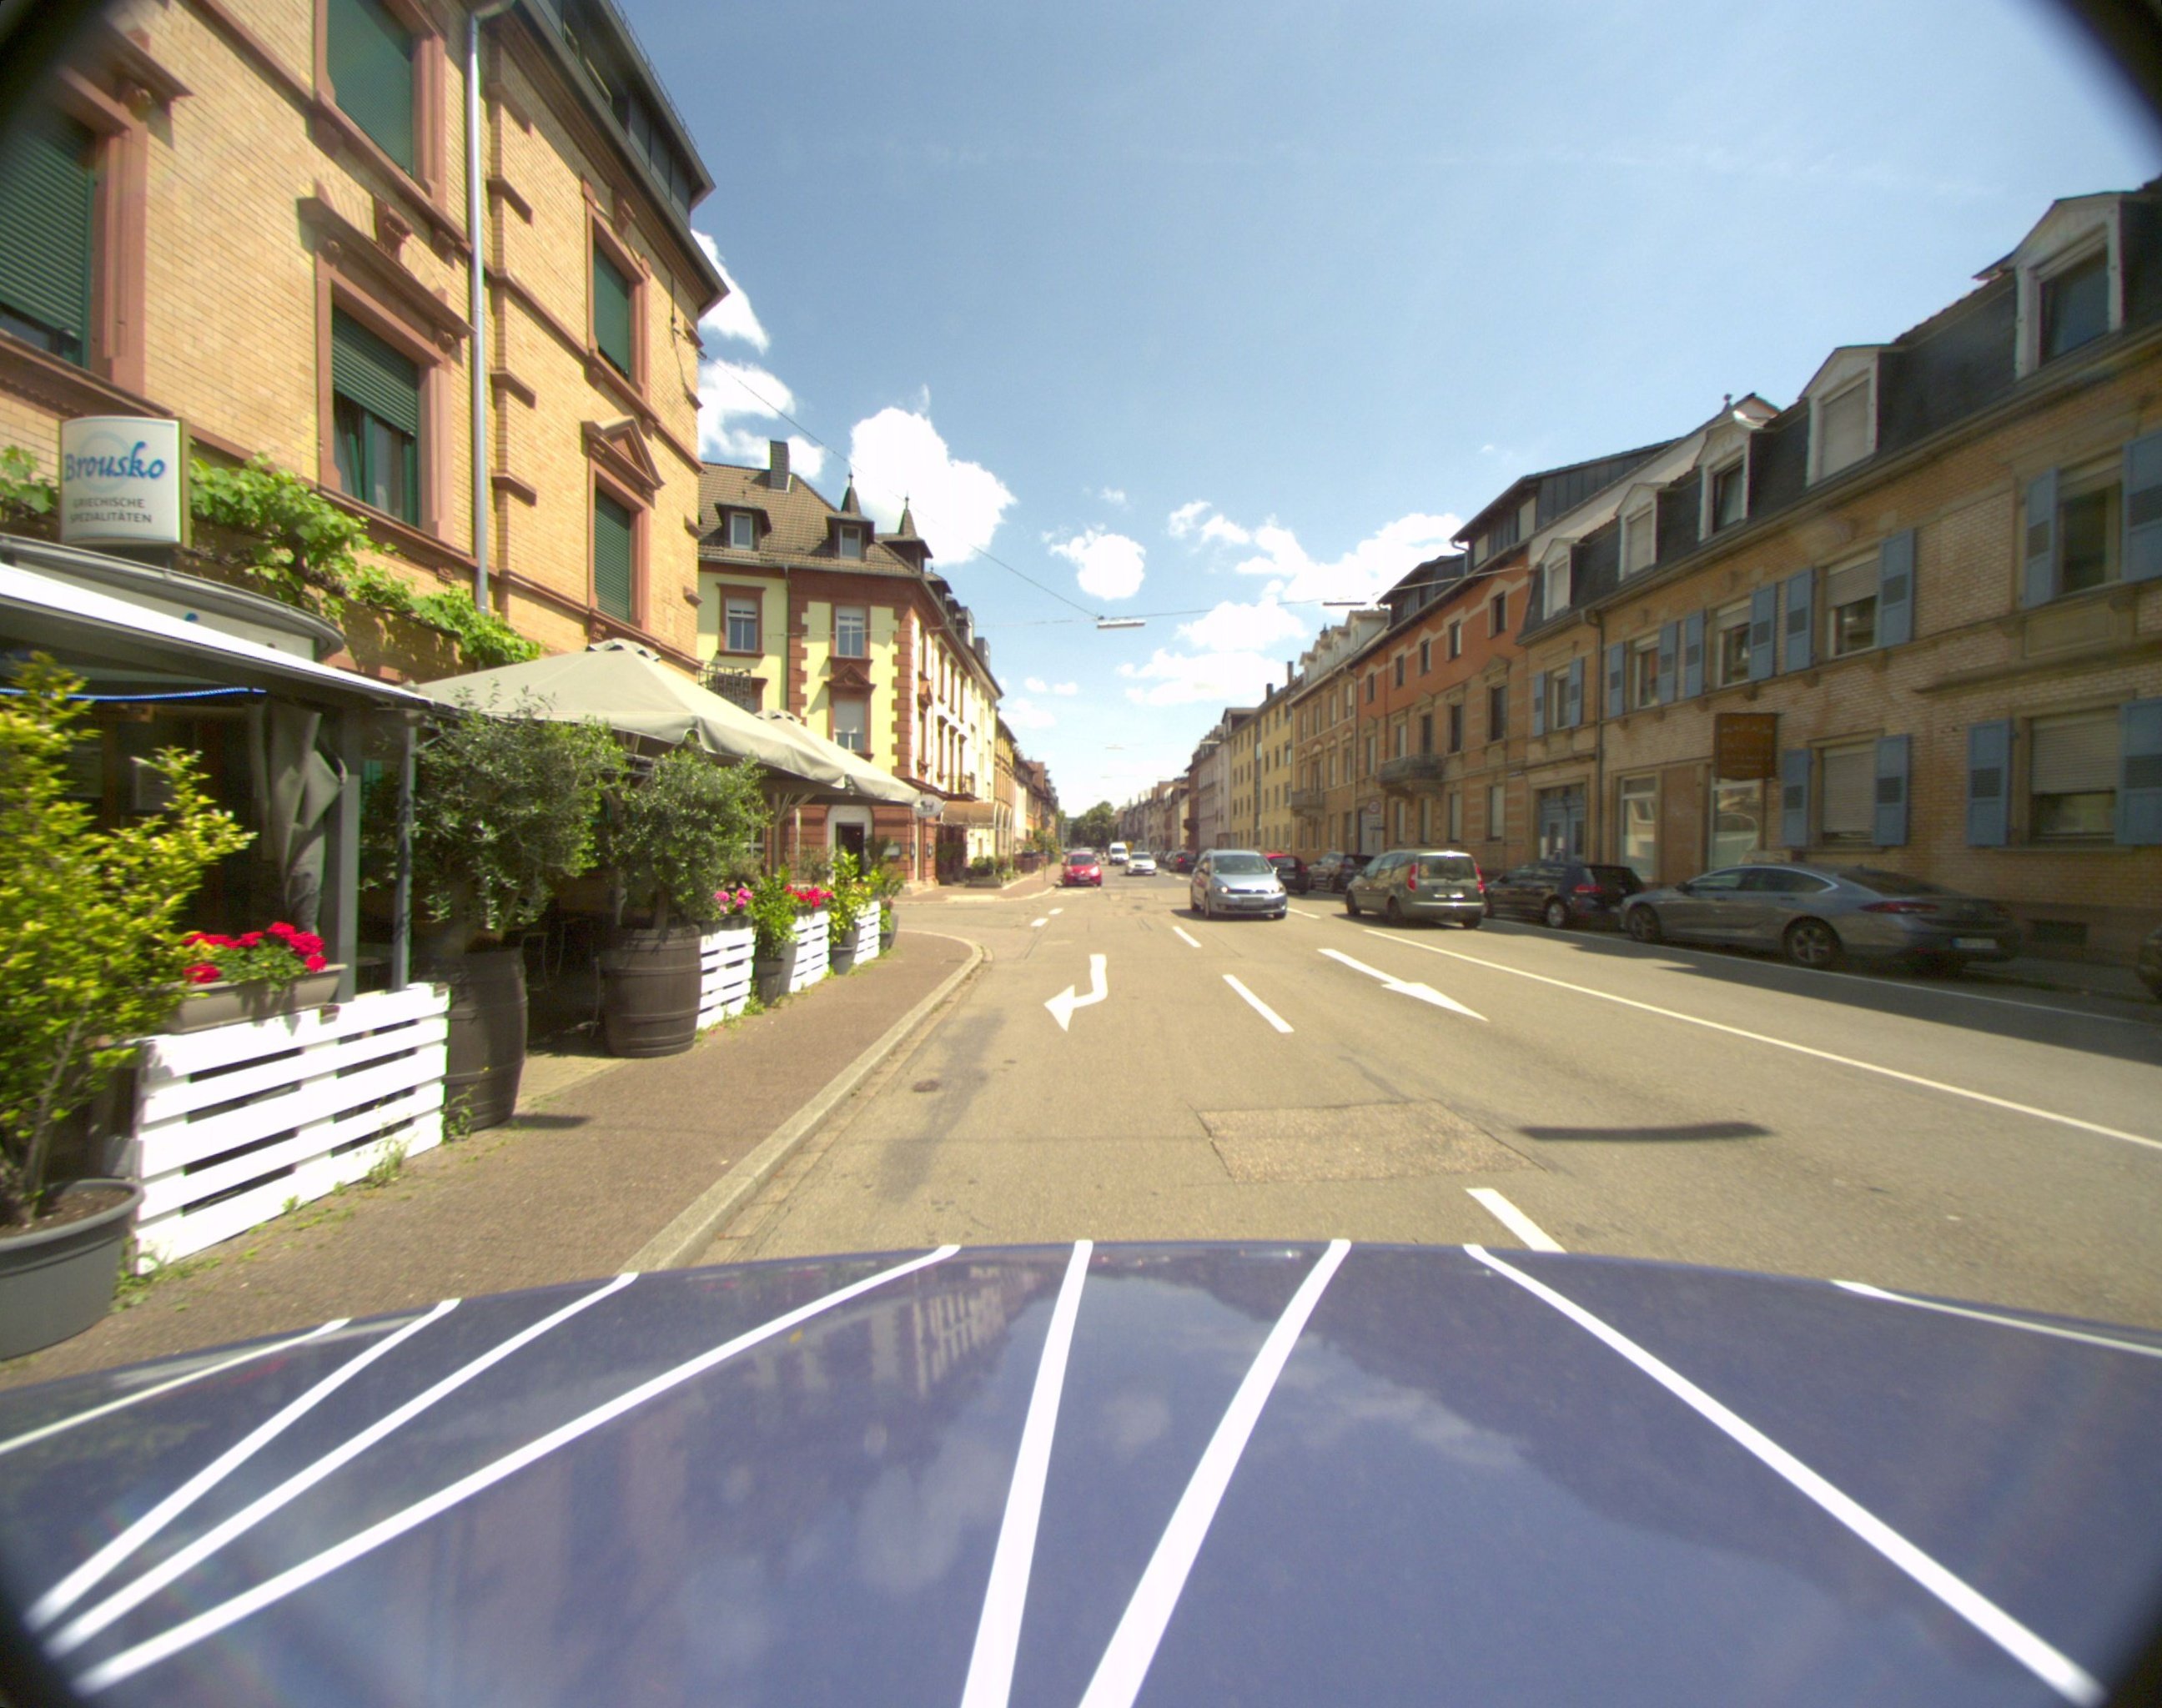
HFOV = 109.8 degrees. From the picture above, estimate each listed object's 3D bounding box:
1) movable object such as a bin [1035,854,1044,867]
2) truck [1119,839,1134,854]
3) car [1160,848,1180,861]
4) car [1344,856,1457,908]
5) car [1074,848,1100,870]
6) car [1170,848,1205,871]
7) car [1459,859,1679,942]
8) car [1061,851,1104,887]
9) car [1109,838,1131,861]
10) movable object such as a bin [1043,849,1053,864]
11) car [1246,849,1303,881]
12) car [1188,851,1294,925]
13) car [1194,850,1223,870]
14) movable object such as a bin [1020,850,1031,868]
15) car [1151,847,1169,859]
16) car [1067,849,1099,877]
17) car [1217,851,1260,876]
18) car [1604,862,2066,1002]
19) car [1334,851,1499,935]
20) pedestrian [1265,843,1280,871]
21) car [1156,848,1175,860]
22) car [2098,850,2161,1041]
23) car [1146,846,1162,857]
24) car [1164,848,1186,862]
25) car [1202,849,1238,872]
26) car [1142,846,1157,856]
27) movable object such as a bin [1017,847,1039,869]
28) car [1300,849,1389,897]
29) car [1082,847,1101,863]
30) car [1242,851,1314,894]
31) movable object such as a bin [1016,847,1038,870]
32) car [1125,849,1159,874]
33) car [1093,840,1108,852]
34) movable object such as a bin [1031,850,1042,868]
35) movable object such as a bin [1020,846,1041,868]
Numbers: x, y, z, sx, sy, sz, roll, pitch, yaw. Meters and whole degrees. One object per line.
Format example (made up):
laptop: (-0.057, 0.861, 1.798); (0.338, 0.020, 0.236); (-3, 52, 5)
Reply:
movable object such as a bin: (-2.928, 0.460, 53.664); (0.626, 0.923, 0.612); (1, 1, -1)
truck: (8.559, -1.417, 143.080); (2.323, 2.725, 8.066); (1, 1, -1)
car: (10.890, 0.043, 93.067); (1.749, 1.403, 4.102); (4, 1, -3)
car: (10.599, 0.877, 25.595); (1.869, 1.418, 4.330); (4, 1, 0)
car: (0.429, 0.360, 56.222); (1.762, 1.470, 4.418); (-2, 1, -1)
car: (7.396, 0.352, 53.281); (1.764, 1.486, 4.244); (1, 1, -1)
car: (10.556, 0.920, 16.922); (1.870, 1.398, 4.329); (4, 1, -3)
car: (0.019, 0.655, 35.091); (1.762, 1.470, 3.782); (-2, 1, -2)
car: (3.844, -0.464, 75.742); (1.905, 2.261, 5.671); (0, 1, 0)
movable object such as a bin: (-2.832, 0.188, 65.250); (0.753, 1.235, 0.877); (1, 1, -1)
car: (10.699, 0.584, 42.338); (1.870, 1.543, 4.499); (4, 1, -1)
car: (3.693, 0.722, 18.203); (1.758, 1.559, 4.000); (0, 1, 1)
car: (10.515, 0.475, 62.734); (1.749, 1.403, 3.914); (4, 1, 1)
movable object such as a bin: (-3.794, 0.335, 52.153); (0.723, 1.161, 0.747); (1, 1, -1)
car: (10.799, -0.127, 104.280); (1.749, 1.403, 4.102); (4, 1, -3)
car: (0.172, 0.483, 45.692); (1.762, 1.542, 4.065); (-2, 1, 2)
car: (10.573, 0.629, 51.381); (1.909, 1.443, 4.685); (4, 1, 0)
car: (10.510, 0.947, 11.326); (1.870, 1.398, 4.835); (4, 1, -2)
car: (7.104, 0.732, 16.606); (1.706, 1.565, 4.312); (1, 1, 1)
pedestrian: (12.397, 0.192, 49.158); (0.804, 1.746, 0.876); (1, 1, 8)
car: (10.900, -0.002, 98.568); (1.749, 1.403, 4.102); (4, 1, -3)
car: (10.182, 0.833, 4.477); (1.889, 1.631, 4.817); (2, 1, 1)
car: (10.712, -0.380, 110.955); (1.665, 1.403, 4.102); (4, 1, -3)
car: (10.835, 0.095, 87.450); (1.749, 1.403, 4.102); (4, 1, -3)
car: (10.544, 0.494, 57.859); (1.869, 1.543, 4.313); (4, 1, 0)
car: (10.456, -0.500, 115.914); (1.665, 1.403, 4.102); (4, 1, -3)
movable object such as a bin: (-3.409, 0.245, 49.409); (1.285, 1.388, 1.364); (1, 1, 1)
car: (10.488, 0.695, 30.634); (1.870, 1.618, 4.499); (4, 1, -1)
car: (0.988, 0.105, 74.428); (1.708, 1.470, 3.930); (-2, 1, 0)
car: (7.449, 0.659, 29.142); (1.706, 1.469, 4.133); (1, 1, 1)
movable object such as a bin: (-3.409, 0.287, 47.993); (1.285, 1.388, 1.413); (1, 1, 1)
car: (3.771, 0.441, 47.625); (1.905, 1.489, 4.487); (0, 1, 1)
car: (2.584, -1.058, 101.979); (1.905, 1.489, 4.487); (0, 1, 1)
movable object such as a bin: (-3.034, 0.349, 52.162); (0.723, 1.181, 0.747); (1, 1, -1)
movable object such as a bin: (-3.362, 0.204, 50.778); (1.285, 1.402, 1.304); (1, 1, 1)
